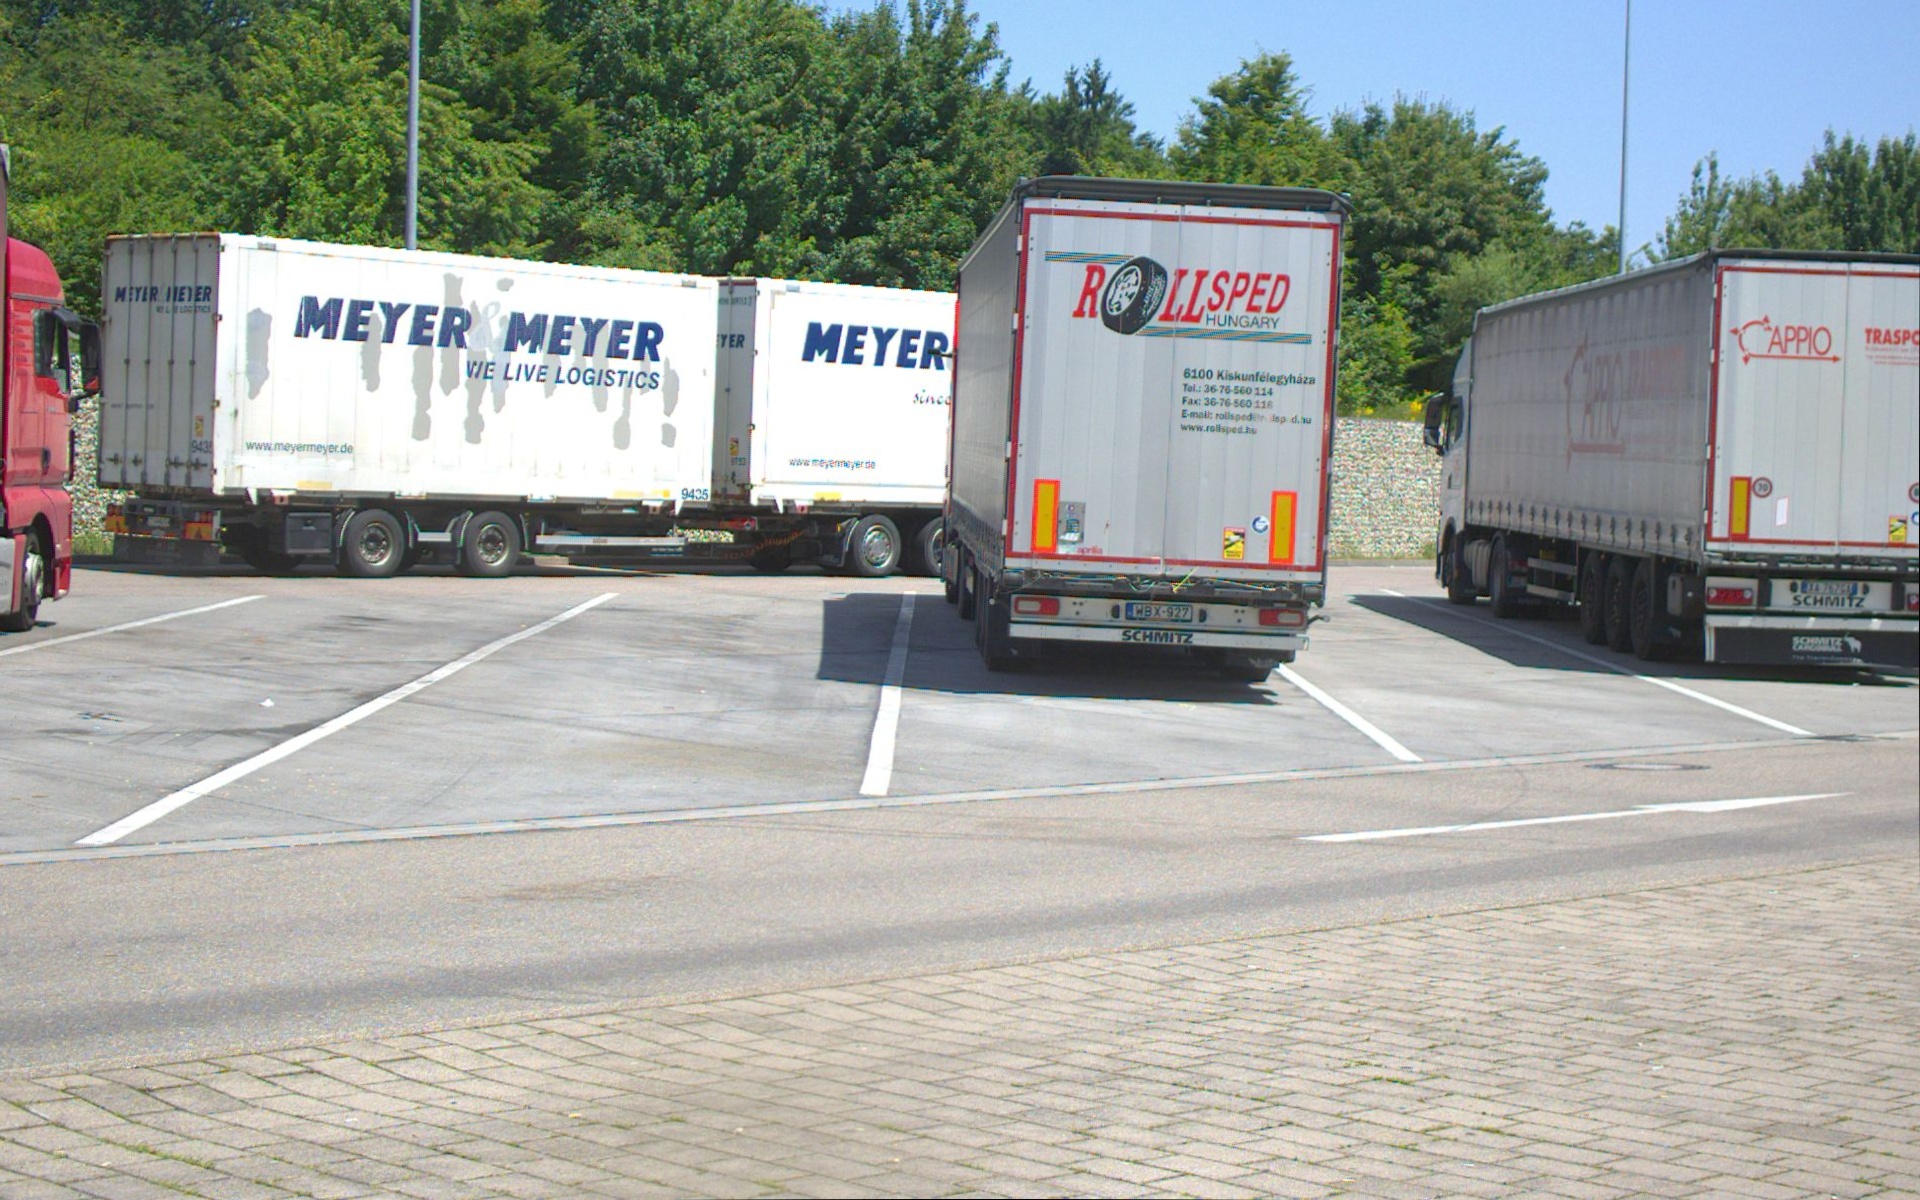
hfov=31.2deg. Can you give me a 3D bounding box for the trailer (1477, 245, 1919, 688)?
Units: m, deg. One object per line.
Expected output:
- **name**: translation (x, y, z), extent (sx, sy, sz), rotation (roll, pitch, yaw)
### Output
- **trailer**: translation (8.191, -1.562, 37.953), extent (2.866, 4.023, 12.439), rotation (2, 3, 0)

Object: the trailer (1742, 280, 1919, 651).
- **trailer**: translation (11.846, -1.521, 39.017), extent (2.866, 4.023, 12.439), rotation (2, 3, 0)

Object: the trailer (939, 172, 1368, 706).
- **trailer**: translation (1.446, -1.632, 33.616), extent (2.866, 4.023, 14.243), rotation (2, 3, -2)

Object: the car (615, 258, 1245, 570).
- **car**: translation (-0.206, -2.635, 50.802), extent (2.687, 4.174, 10.190), rotation (6, 5, 45)

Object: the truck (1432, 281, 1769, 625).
- **truck**: translation (8.132, -1.944, 44.580), extent (2.866, 4.023, 6.957), rotation (2, 3, 0)

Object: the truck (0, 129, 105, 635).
- **truck**: translation (-9.142, -1.811, 27.978), extent (2.696, 4.099, 6.240), rotation (2, 3, 0)

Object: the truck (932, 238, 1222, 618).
- **truck**: translation (1.234, -2.050, 40.695), extent (2.866, 4.023, 7.028), rotation (2, 3, -2)

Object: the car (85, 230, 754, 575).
- **car**: translation (-6.746, -2.441, 44.162), extent (2.687, 4.030, 8.446), rotation (6, 5, 44)
